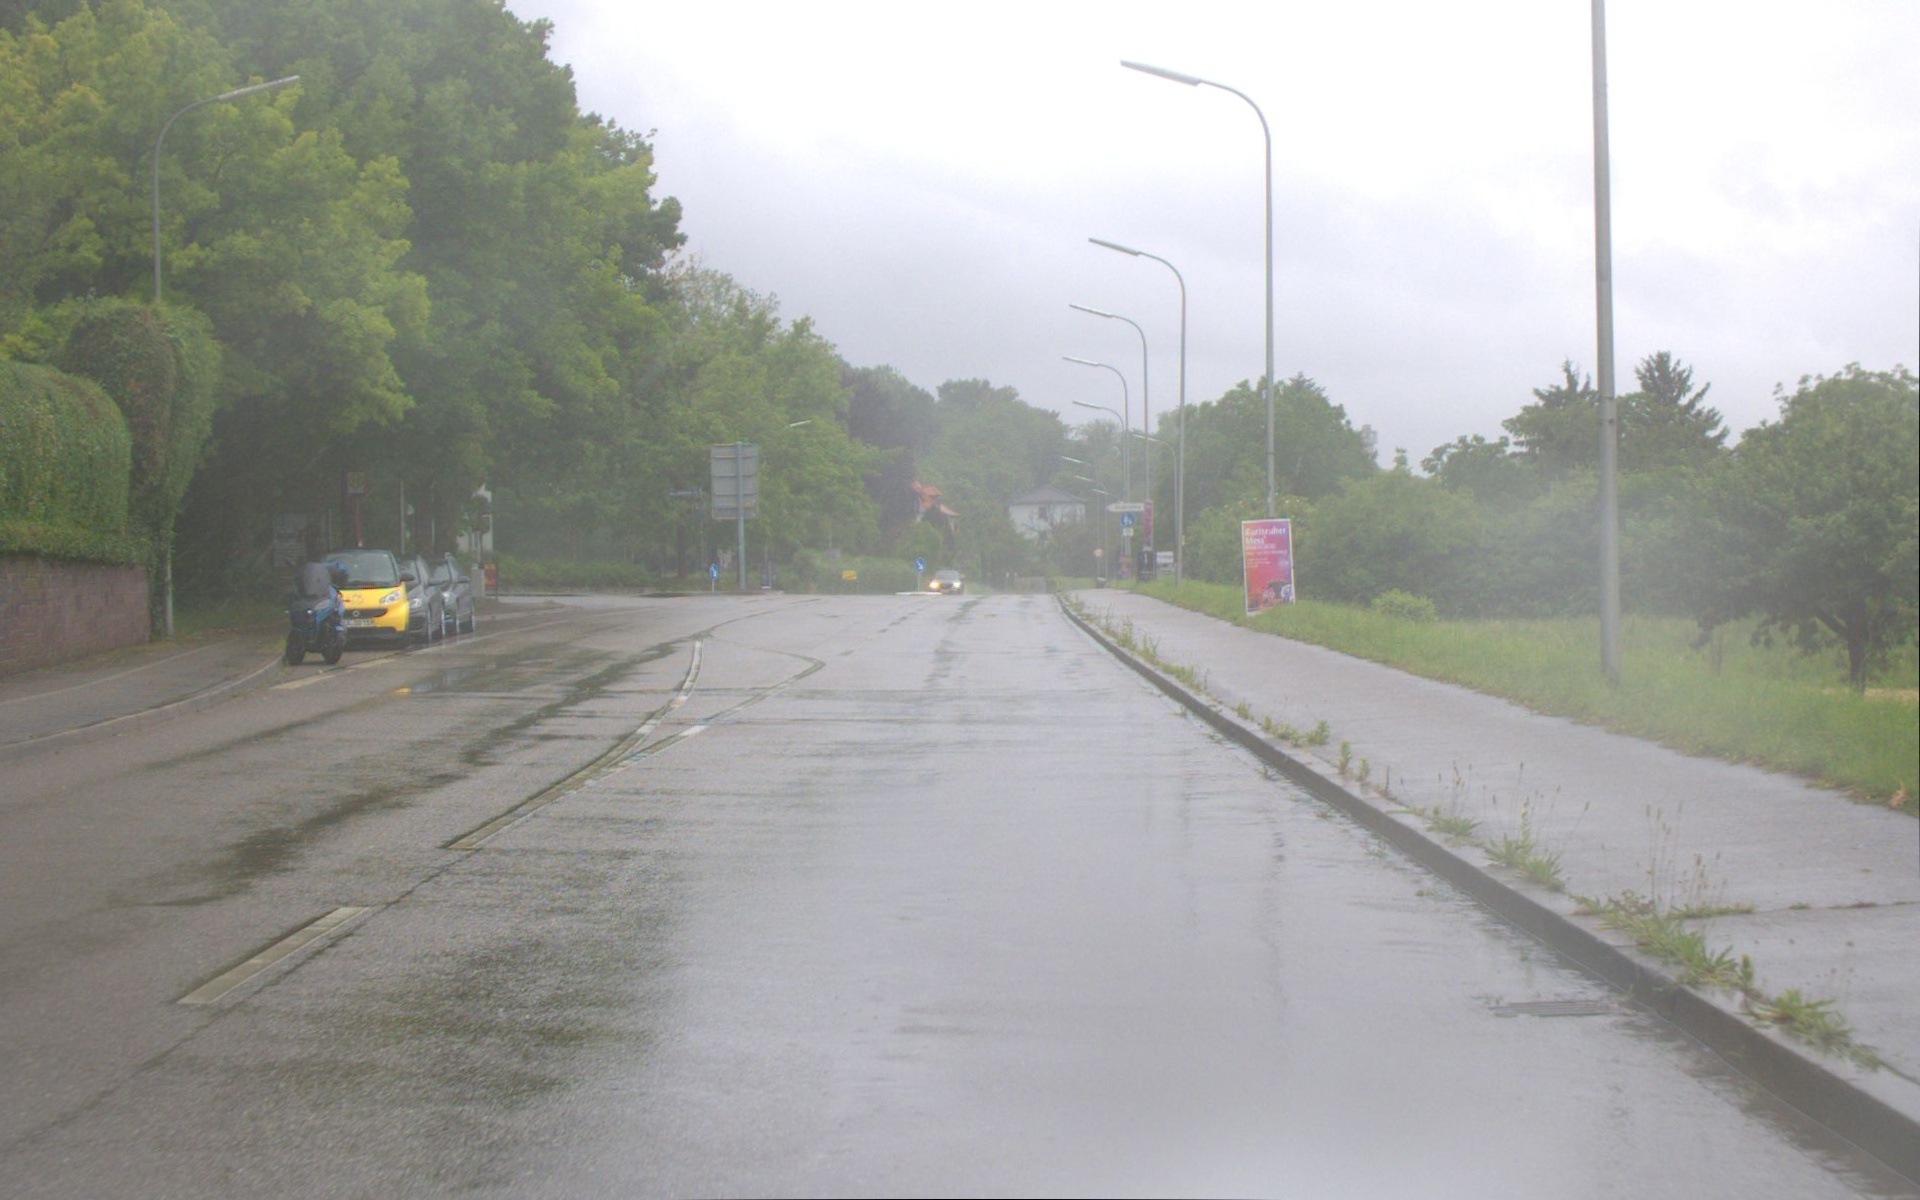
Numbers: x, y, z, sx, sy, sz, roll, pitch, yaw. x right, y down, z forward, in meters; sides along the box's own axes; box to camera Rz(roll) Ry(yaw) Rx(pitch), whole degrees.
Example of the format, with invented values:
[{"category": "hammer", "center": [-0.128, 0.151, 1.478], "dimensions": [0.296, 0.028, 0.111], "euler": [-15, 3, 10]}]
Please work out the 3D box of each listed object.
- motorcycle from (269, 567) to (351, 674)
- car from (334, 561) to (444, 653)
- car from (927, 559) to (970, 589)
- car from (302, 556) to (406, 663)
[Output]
[{"category": "motorcycle", "center": [-8.528, 0.249, 45.169], "dimensions": [0.837, 1.336, 2.500], "euler": [-1, 1, -6]}, {"category": "car", "center": [-9.261, 0.090, 55.964], "dimensions": [1.433, 1.414, 4.105], "euler": [-1, 1, -5]}, {"category": "car", "center": [-0.667, -1.525, 201.824], "dimensions": [1.795, 1.756, 3.998], "euler": [0, 1, 10]}, {"category": "car", "center": [-9.098, 0.125, 51.722], "dimensions": [1.433, 1.532, 2.820], "euler": [-1, 1, -9]}]
